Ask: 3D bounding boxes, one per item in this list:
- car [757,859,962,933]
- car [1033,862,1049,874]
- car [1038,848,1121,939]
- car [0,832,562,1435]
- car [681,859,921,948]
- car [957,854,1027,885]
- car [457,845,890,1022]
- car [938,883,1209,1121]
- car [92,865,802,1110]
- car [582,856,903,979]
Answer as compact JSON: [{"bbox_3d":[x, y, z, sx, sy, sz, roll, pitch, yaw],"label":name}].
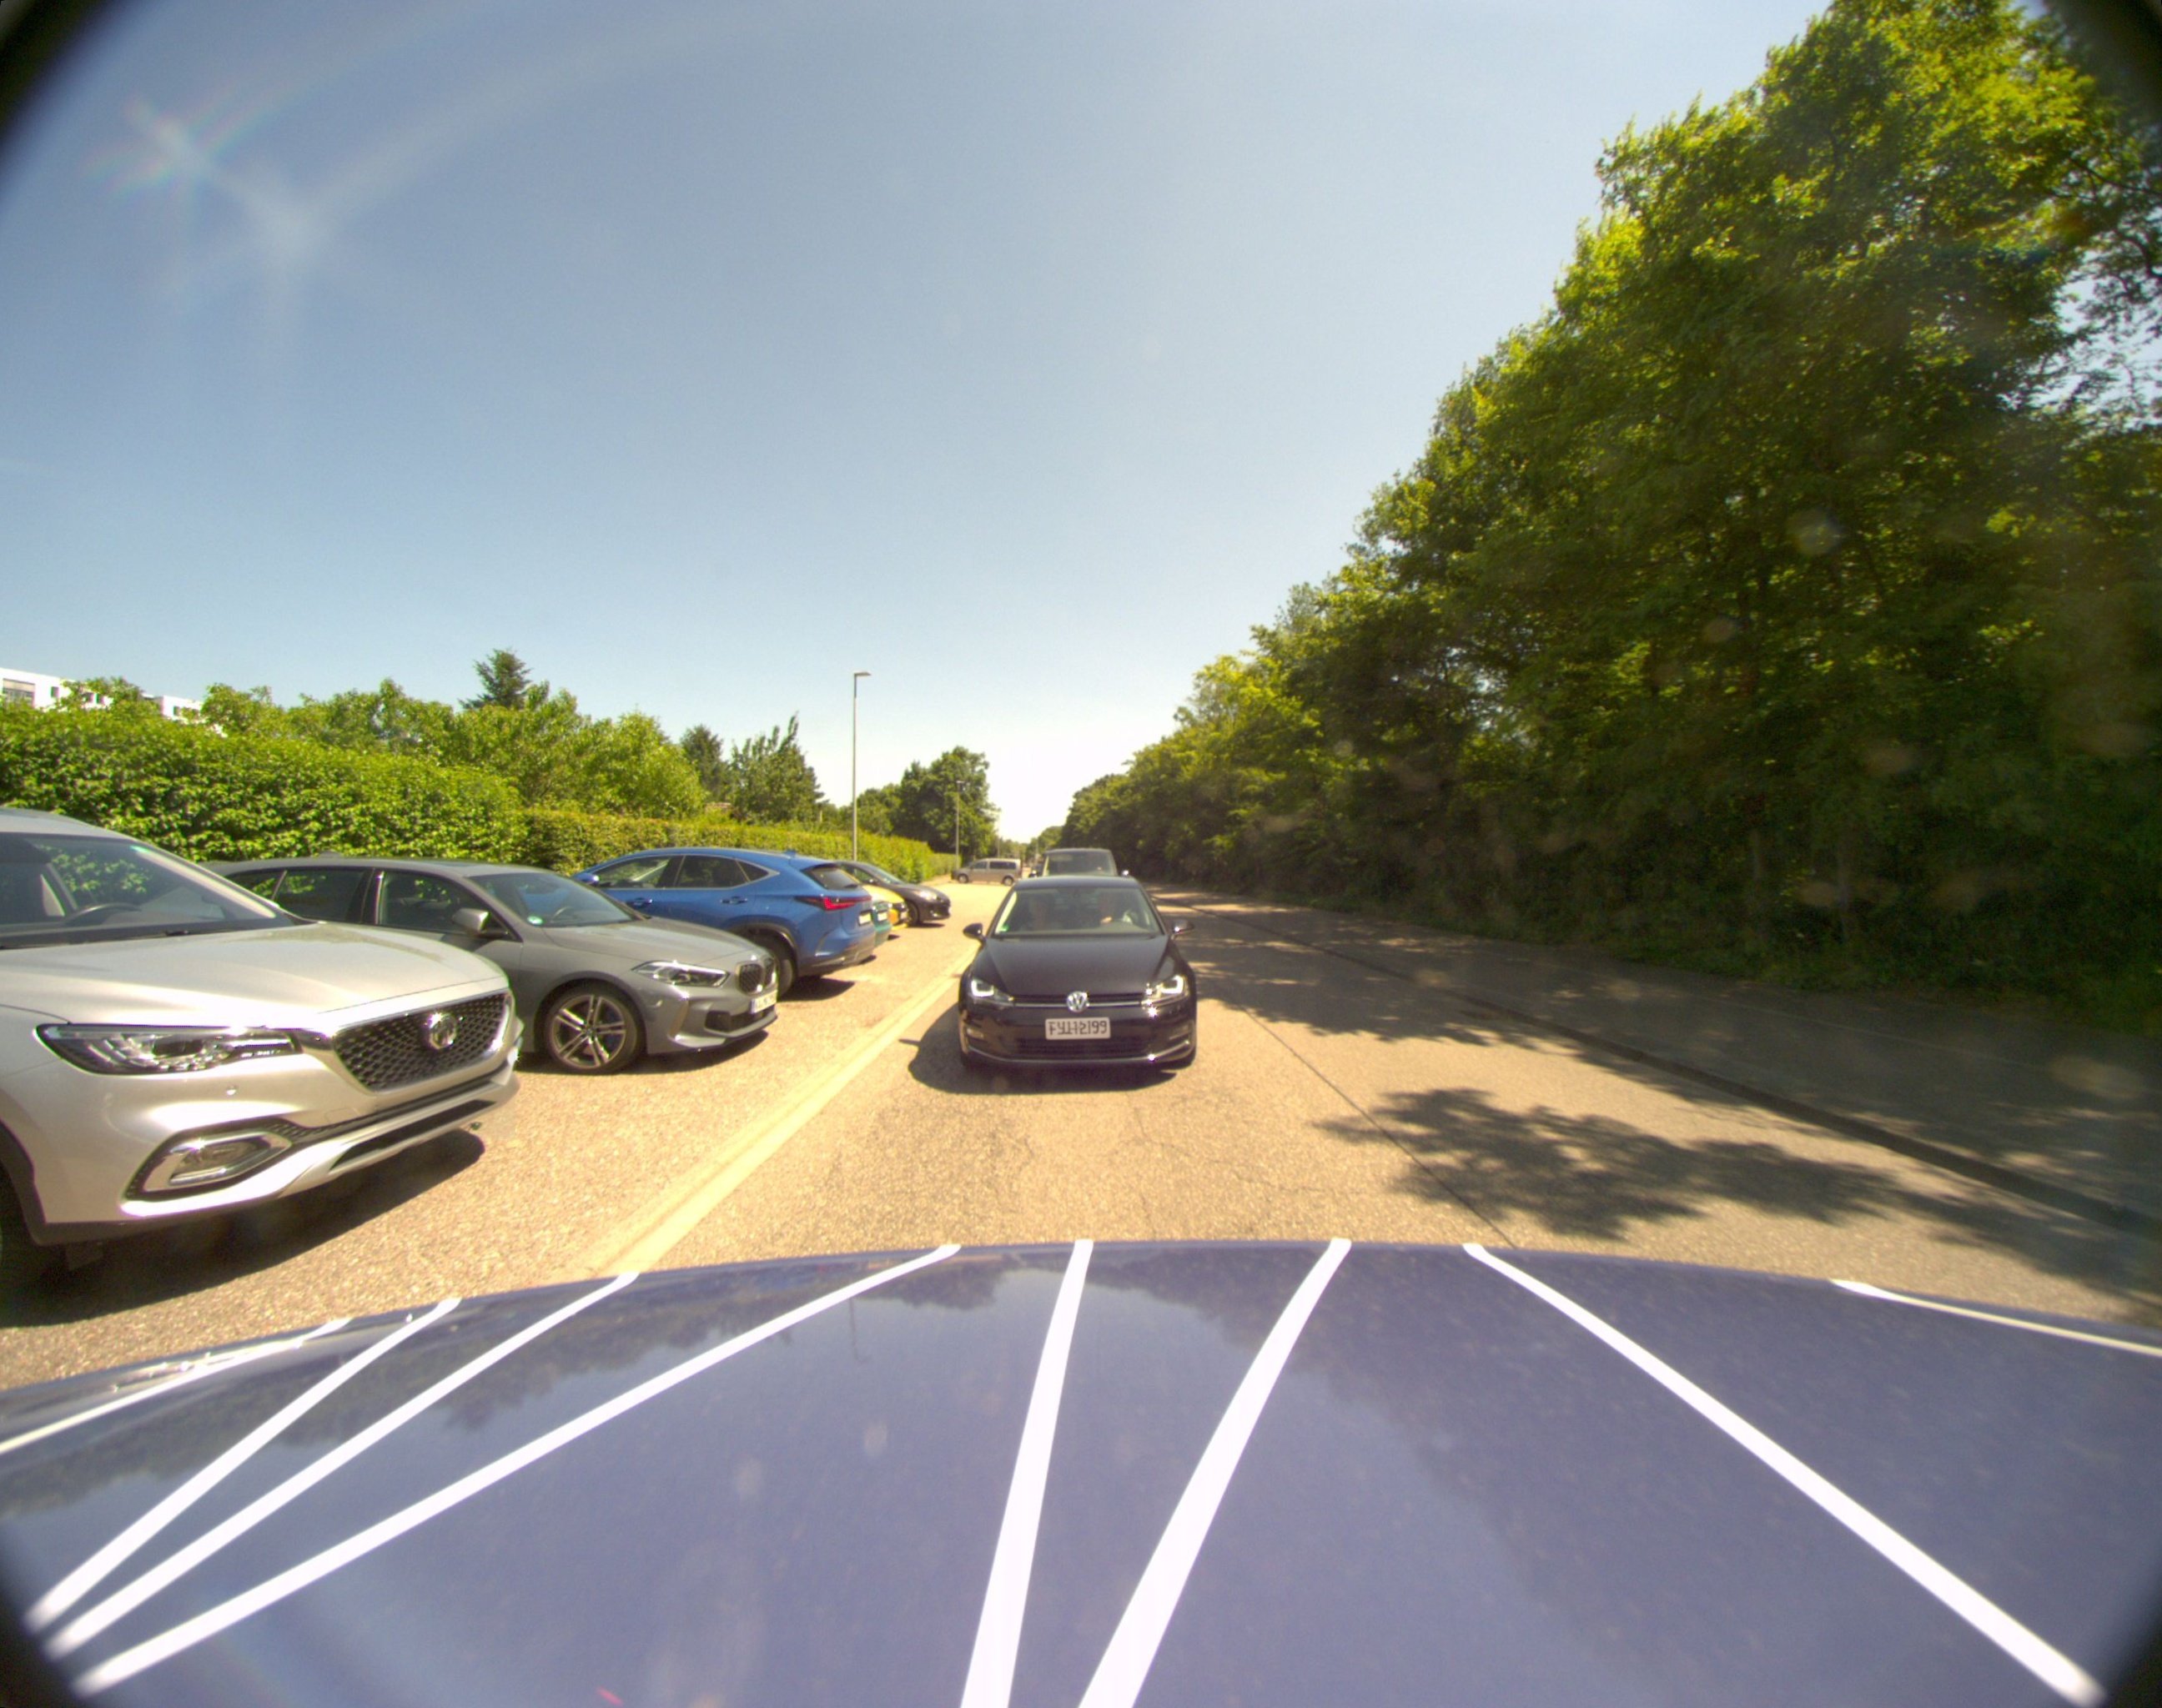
[{"bbox_3d":[-5.094,0.946,17.860,4.251,1.410,1.649,3,0,0],"label":"car"},{"bbox_3d":[-4.723,1.615,88.938,1.744,1.396,4.386,1,0,-4],"label":"car"},{"bbox_3d":[-0.054,0.849,18.298,1.743,1.904,4.388,-1,0,0],"label":"car"},{"bbox_3d":[-4.797,0.742,2.999,4.170,1.632,1.775,3,0,-2],"label":"car"},{"bbox_3d":[-5.380,0.927,14.951,4.036,1.438,1.649,3,0,0],"label":"car"},{"bbox_3d":[-5.973,1.029,51.496,4.493,1.840,1.695,3,0,-4],"label":"car"},{"bbox_3d":[-4.486,0.837,8.803,4.036,1.632,1.674,3,0,0],"label":"car"},{"bbox_3d":[-0.063,1.046,7.140,1.743,1.396,4.388,-1,0,0],"label":"car"},{"bbox_3d":[-4.531,0.908,5.910,4.036,1.401,1.679,3,0,-1],"label":"car"},{"bbox_3d":[-4.935,0.897,11.461,4.036,1.505,1.649,3,0,0],"label":"car"}]
